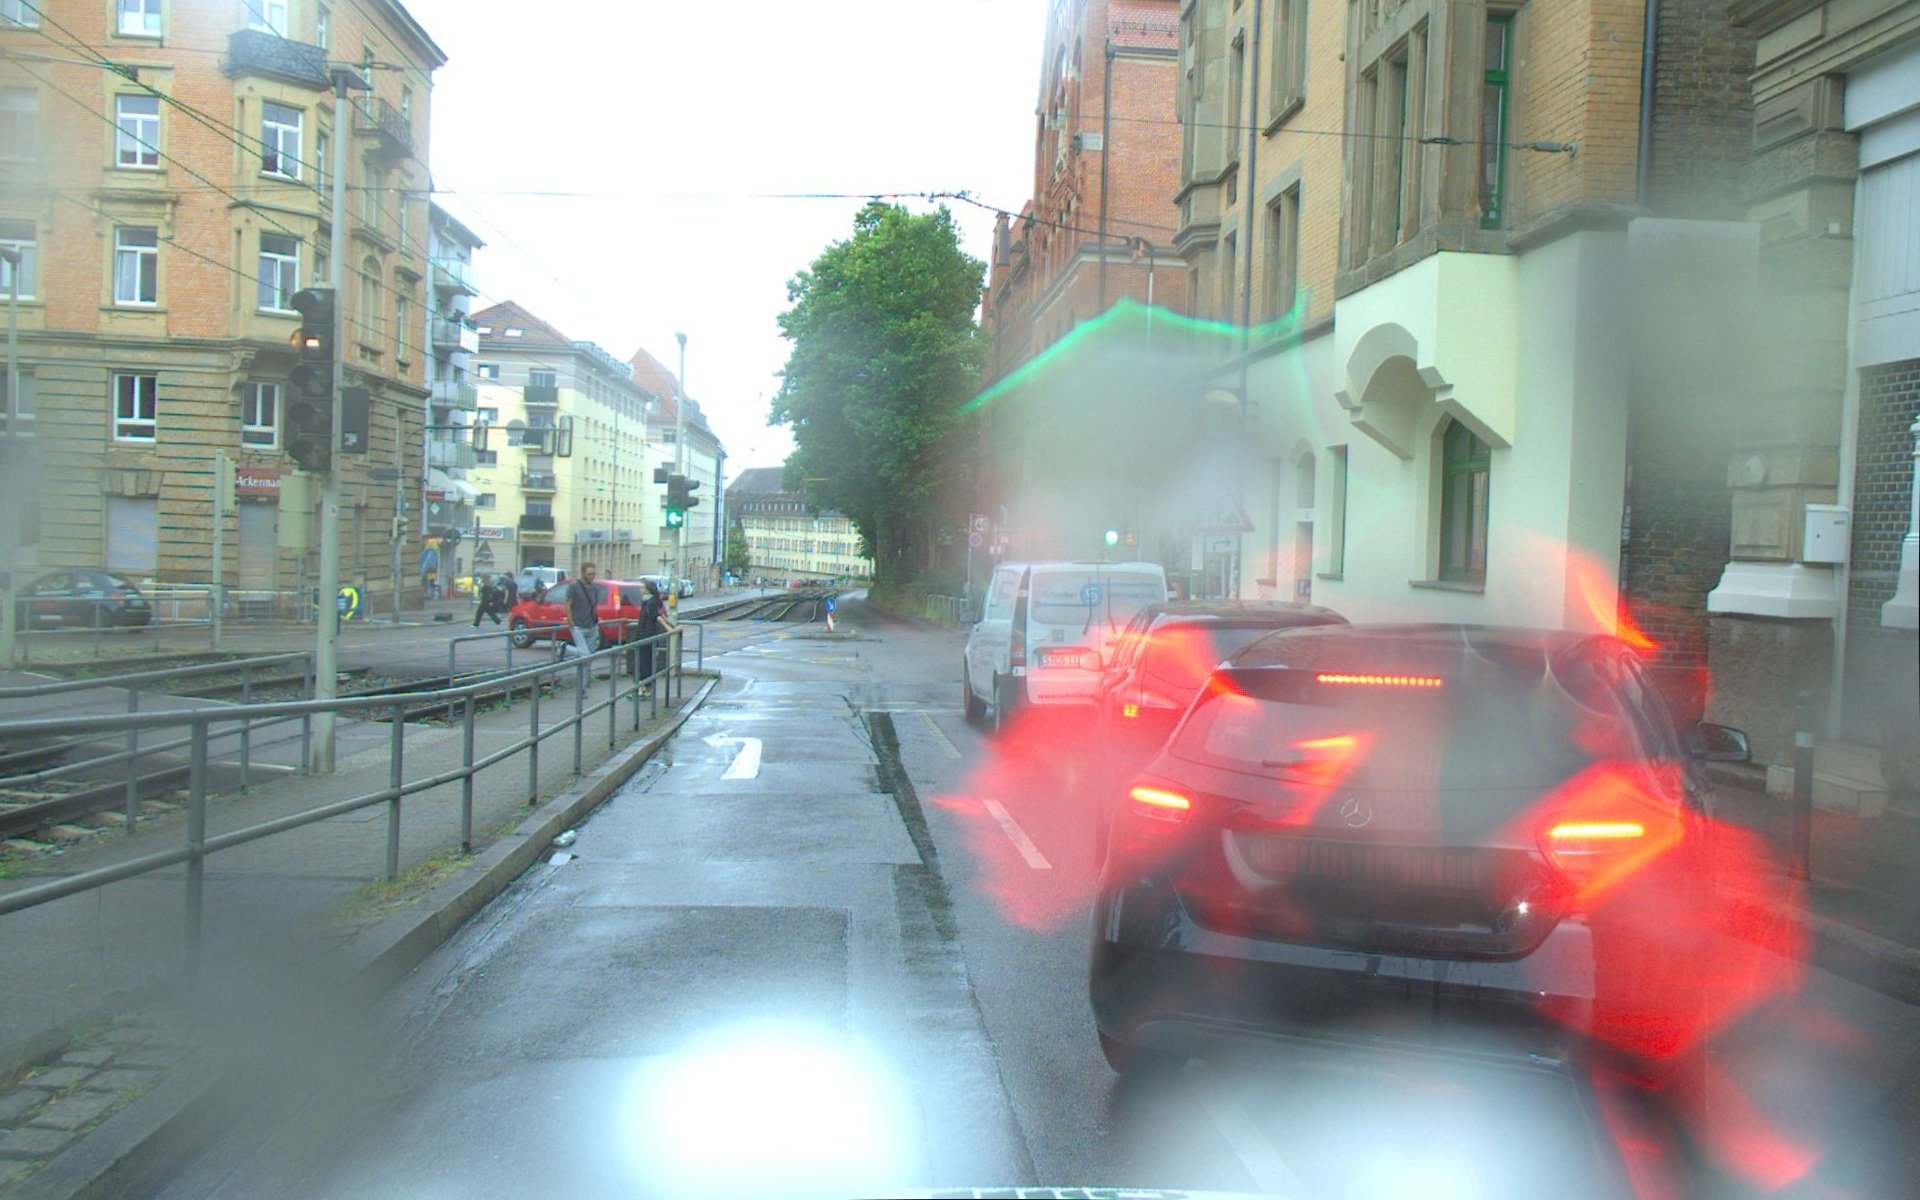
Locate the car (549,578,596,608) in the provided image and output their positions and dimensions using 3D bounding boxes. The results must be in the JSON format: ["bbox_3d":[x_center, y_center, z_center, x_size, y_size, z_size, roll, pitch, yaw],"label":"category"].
[{"bbox_3d":[-19.410,-0.354,83.039,1.647,1.379,3.700,2,0,-3],"label":"car"}]

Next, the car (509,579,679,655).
[{"bbox_3d":[-7.832,0.336,35.288,3.543,1.515,1.678,1,0,38],"label":"car"}]

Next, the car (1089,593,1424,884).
[{"bbox_3d":[1.751,0.733,10.993,1.677,1.494,4.283,2,0,4],"label":"car"}]

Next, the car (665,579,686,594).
[{"bbox_3d":[-23.270,-1.102,135.326,1.367,1.191,3.160,2,0,-3],"label":"car"}]

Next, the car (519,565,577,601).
[{"bbox_3d":[-18.940,-0.793,76.199,1.751,1.556,4.459,2,0,-3],"label":"car"}]

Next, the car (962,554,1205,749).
[{"bbox_3d":[1.218,0.487,18.329,1.896,1.863,4.275,2,0,-6],"label":"car"}]

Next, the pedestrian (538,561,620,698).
[{"bbox_3d":[-5.018,0.386,21.768,0.728,1.754,0.736,2,0,43],"label":"pedestrian"}]

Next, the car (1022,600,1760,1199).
[{"bbox_3d":[1.875,0.744,6.101,1.857,1.414,3.997,2,0,25],"label":"car"}]

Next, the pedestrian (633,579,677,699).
[{"bbox_3d":[-4.015,0.510,21.782,0.522,1.557,0.435,2,0,-12],"label":"pedestrian"}]

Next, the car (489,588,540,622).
[{"bbox_3d":[-18.728,0.190,69.587,1.423,1.341,3.292,3,1,-5],"label":"car"}]

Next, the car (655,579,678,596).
[{"bbox_3d":[-22.360,-0.947,125.983,1.367,1.191,3.160,2,0,-3],"label":"car"}]

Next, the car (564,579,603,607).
[{"bbox_3d":[-19.741,-0.373,86.854,1.470,1.379,3.160,2,0,-3],"label":"car"}]

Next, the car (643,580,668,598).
[{"bbox_3d":[-22.046,-0.799,119.693,1.367,1.191,3.160,2,0,-3],"label":"car"}]

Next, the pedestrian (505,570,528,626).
[{"bbox_3d":[-13.549,-0.059,50.527,0.508,1.695,0.476,3,0,-1],"label":"pedestrian"}]

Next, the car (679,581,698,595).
[{"bbox_3d":[-24.271,-1.082,147.840,1.367,1.191,3.160,2,0,-3],"label":"car"}]

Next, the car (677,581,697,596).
[{"bbox_3d":[-23.665,-0.991,143.385,1.367,1.191,3.160,2,0,-3],"label":"car"}]

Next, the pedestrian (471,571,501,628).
[{"bbox_3d":[-14.263,-0.025,49.743,0.664,1.690,0.676,1,0,2],"label":"pedestrian"}]

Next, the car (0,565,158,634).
[{"bbox_3d":[-21.111,-0.021,39.591,3.089,1.515,1.423,2,1,-3],"label":"car"}]
